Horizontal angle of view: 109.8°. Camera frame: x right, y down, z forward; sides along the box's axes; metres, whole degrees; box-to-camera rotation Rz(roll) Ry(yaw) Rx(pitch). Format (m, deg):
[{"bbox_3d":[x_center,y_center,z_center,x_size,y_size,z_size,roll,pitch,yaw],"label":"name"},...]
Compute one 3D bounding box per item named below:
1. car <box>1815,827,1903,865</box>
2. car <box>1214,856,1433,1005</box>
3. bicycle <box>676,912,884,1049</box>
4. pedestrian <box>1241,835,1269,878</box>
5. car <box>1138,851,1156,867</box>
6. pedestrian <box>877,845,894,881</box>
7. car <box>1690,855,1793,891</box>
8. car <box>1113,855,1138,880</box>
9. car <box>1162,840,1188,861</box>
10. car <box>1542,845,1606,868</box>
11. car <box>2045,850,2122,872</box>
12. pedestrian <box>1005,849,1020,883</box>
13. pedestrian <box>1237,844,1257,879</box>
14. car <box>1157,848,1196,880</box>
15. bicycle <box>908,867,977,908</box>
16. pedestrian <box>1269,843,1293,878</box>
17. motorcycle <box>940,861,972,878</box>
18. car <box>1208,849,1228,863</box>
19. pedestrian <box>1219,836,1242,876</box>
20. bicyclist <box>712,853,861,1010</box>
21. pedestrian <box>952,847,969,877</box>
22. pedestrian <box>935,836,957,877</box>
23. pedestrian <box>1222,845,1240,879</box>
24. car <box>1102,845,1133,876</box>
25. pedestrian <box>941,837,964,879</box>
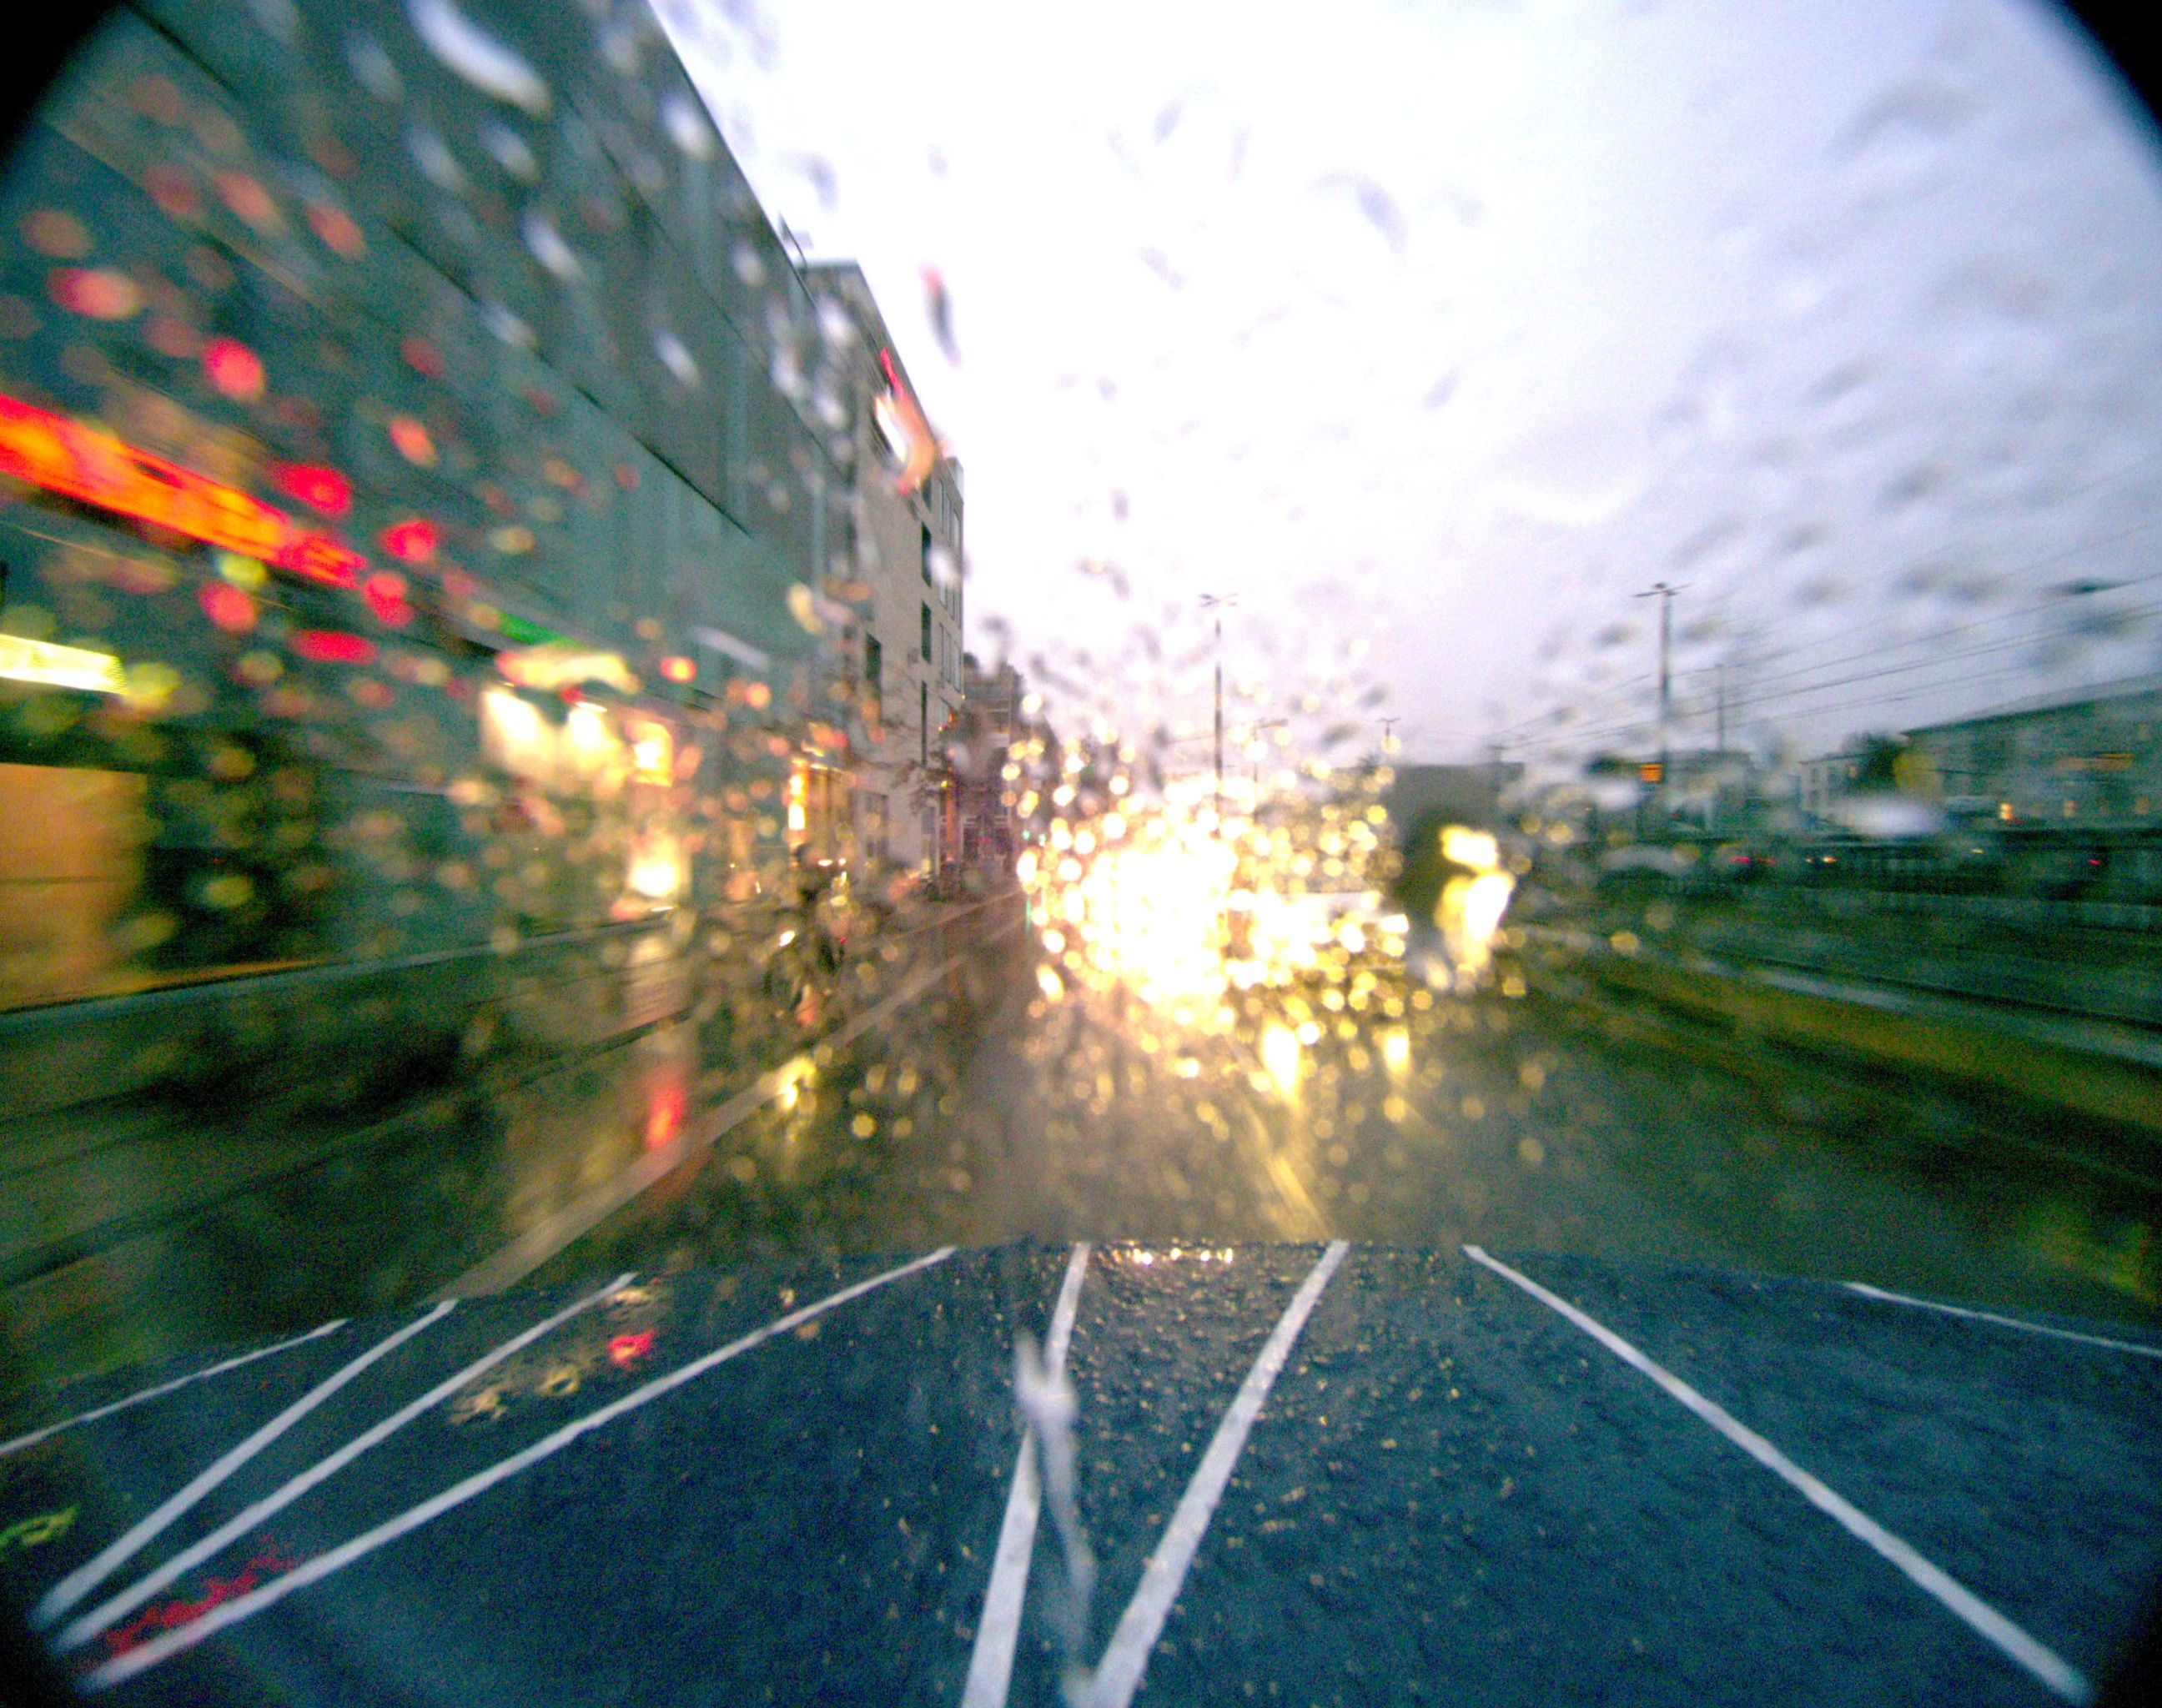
[{"bbox_3d":[59.364,-0.593,58.045,4.434,2.696,2.001,-1,1,7],"label":"car"},{"bbox_3d":[2.860,0.805,9.924,1.813,1.464,4.140,-1,0,5],"label":"car"},{"bbox_3d":[-2.914,1.184,7.716,0.945,0.993,2.241,-1,0,8],"label":"bicycle"},{"bbox_3d":[9.057,0.114,39.534,1.054,2.195,0.956,-2,1,-24],"label":"pedestrian"},{"bbox_3d":[7.490,0.546,86.994,1.867,1.652,3.987,-1,1,3],"label":"car"},{"bbox_3d":[-9.932,0.437,38.600,0.616,1.794,0.624,-1,0,3],"label":"pedestrian"},{"bbox_3d":[36.589,1.009,42.235,1.878,1.862,4.384,-1,0,-1],"label":"car"},{"bbox_3d":[3.654,1.085,62.822,1.998,2.002,4.000,-1,1,3],"label":"car"},{"bbox_3d":[7.984,-0.293,64.588,1.867,1.652,3.987,-1,1,3],"label":"car"},{"bbox_3d":[35.832,0.156,55.339,1.878,1.607,4.232,-1,0,-1],"label":"car"},{"bbox_3d":[61.829,0.429,46.875,3.160,1.267,1.449,-1,1,-6],"label":"car"},{"bbox_3d":[-3.449,0.607,38.325,0.707,1.685,0.723,1,1,-9],"label":"pedestrian"},{"bbox_3d":[8.278,0.374,37.917,0.654,1.708,0.749,-2,1,-24],"label":"pedestrian"},{"bbox_3d":[5.419,0.541,43.515,1.998,1.673,4.001,-1,0,4],"label":"car"},{"bbox_3d":[-4.157,0.990,22.854,1.907,1.168,0.667,1,1,2],"label":"bicycle"},{"bbox_3d":[10.138,0.322,38.463,0.862,1.704,0.763,-2,1,-24],"label":"pedestrian"},{"bbox_3d":[-6.765,0.815,41.113,1.636,0.884,0.395,-1,0,4],"label":"motorcycle"},{"bbox_3d":[15.285,0.211,84.791,1.799,1.521,3.930,-2,0,4],"label":"car"},{"bbox_3d":[8.136,0.101,41.504,0.906,2.133,1.017,-1,1,-9],"label":"pedestrian"},{"bbox_3d":[-2.911,0.729,7.629,0.945,1.454,1.067,-1,1,8],"label":"bicyclist"},{"bbox_3d":[-6.599,0.443,41.474,0.779,1.598,0.501,-1,0,3],"label":"pedestrian"},{"bbox_3d":[-7.193,0.144,40.493,0.965,2.149,0.581,-1,1,14],"label":"pedestrian"},{"bbox_3d":[7.619,0.404,38.524,0.665,1.725,0.606,0,3,39],"label":"pedestrian"},{"bbox_3d":[2.330,0.379,47.683,1.864,1.867,4.001,-1,1,4],"label":"car"},{"bbox_3d":[-6.693,0.206,39.644,0.960,2.179,0.712,-1,1,14],"label":"pedestrian"}]
